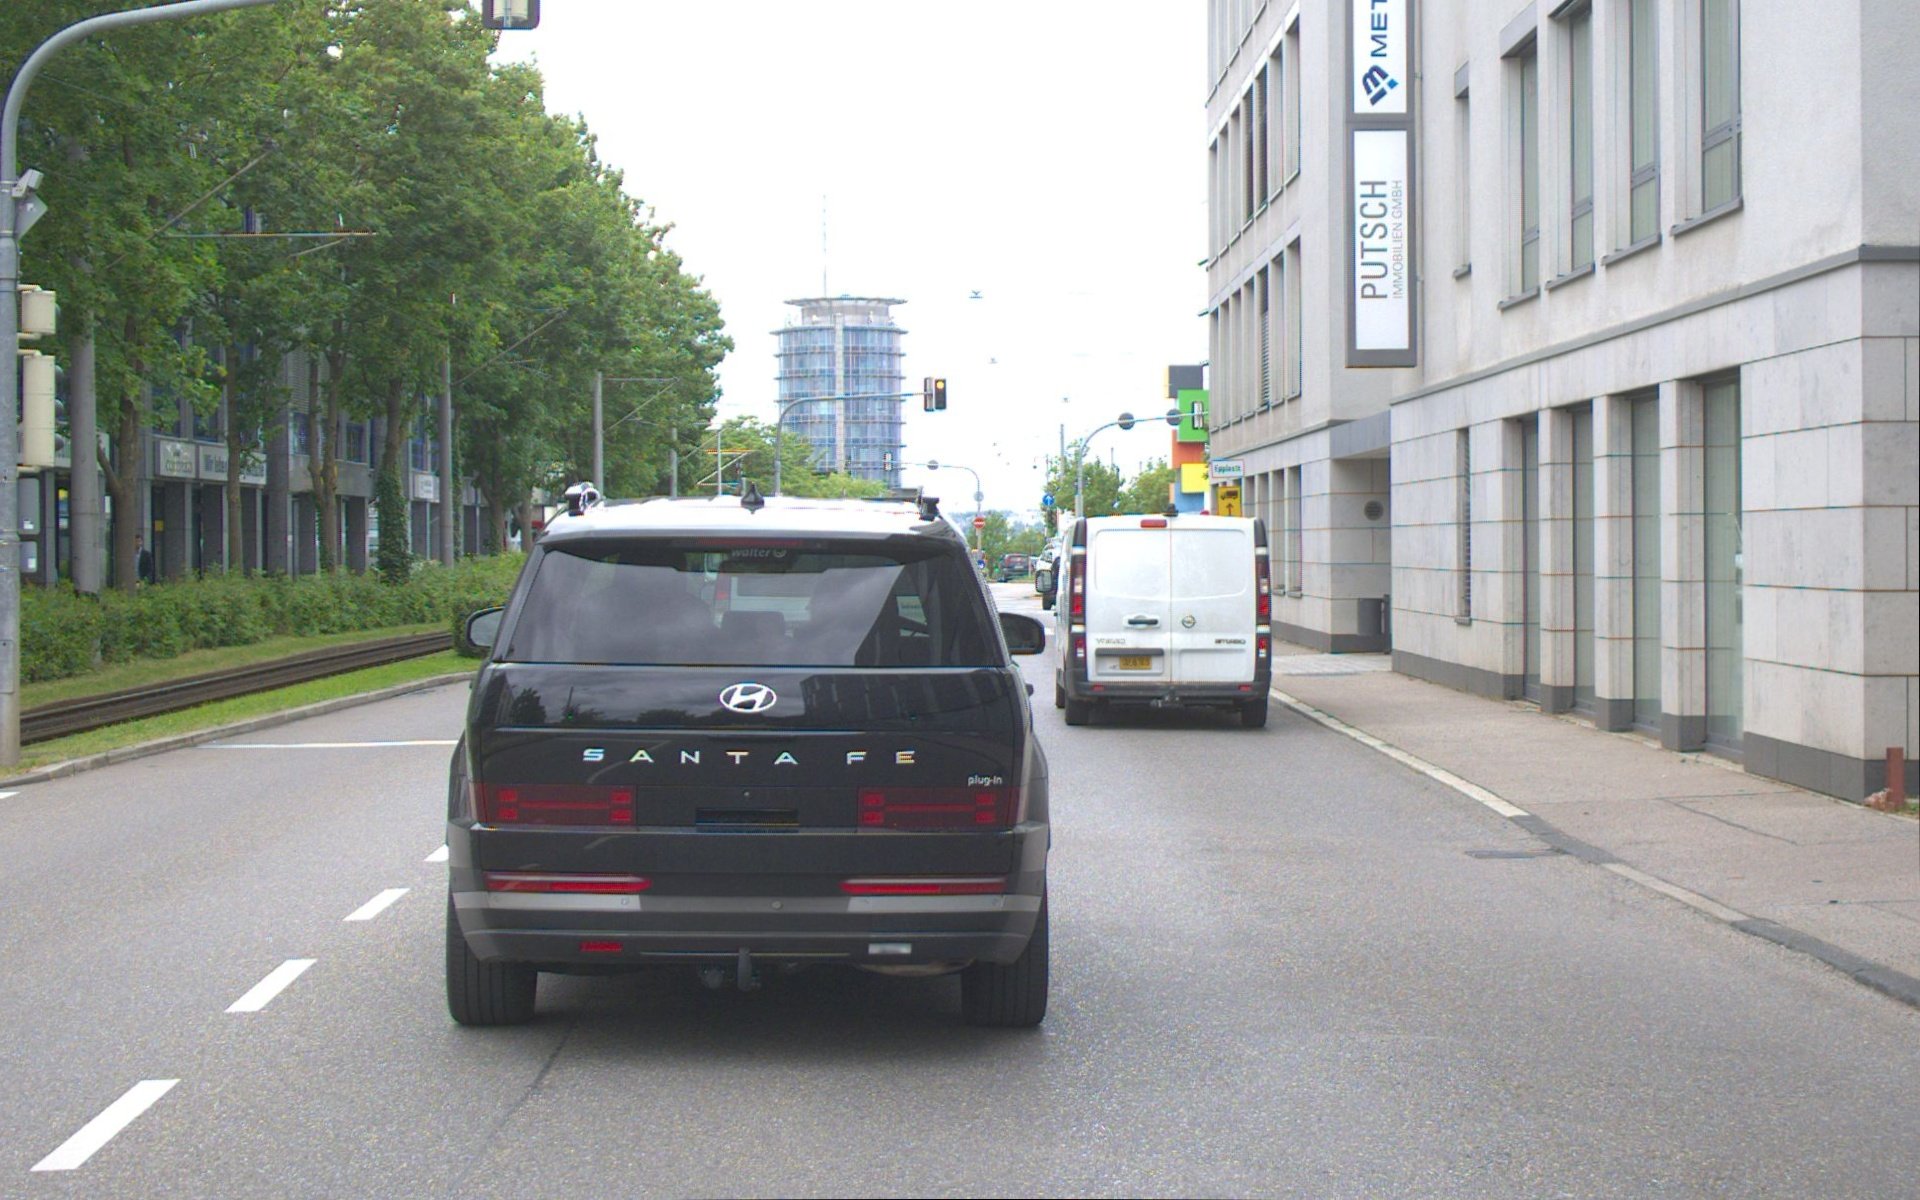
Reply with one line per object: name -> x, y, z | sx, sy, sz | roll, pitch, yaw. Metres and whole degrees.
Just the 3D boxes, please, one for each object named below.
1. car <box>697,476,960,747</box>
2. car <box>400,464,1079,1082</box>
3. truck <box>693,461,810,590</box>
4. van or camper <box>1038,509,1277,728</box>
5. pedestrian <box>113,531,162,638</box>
car -> -1.109, 0.039, 27.646 | 1.931, 1.987, 4.536 | 0, 1, -4
car -> -0.796, 0.474, 12.015 | 1.908, 1.743, 4.397 | 1, 1, -5
truck -> -4.378, -1.581, 73.010 | 2.165, 2.606, 5.796 | -1, 1, -1
van or camper -> 1.787, 0.121, 32.435 | 1.993, 1.909, 4.332 | 1, 1, 0
pedestrian -> -14.862, -0.286, 62.147 | 0.675, 1.902, 0.622 | -2, 1, 1
